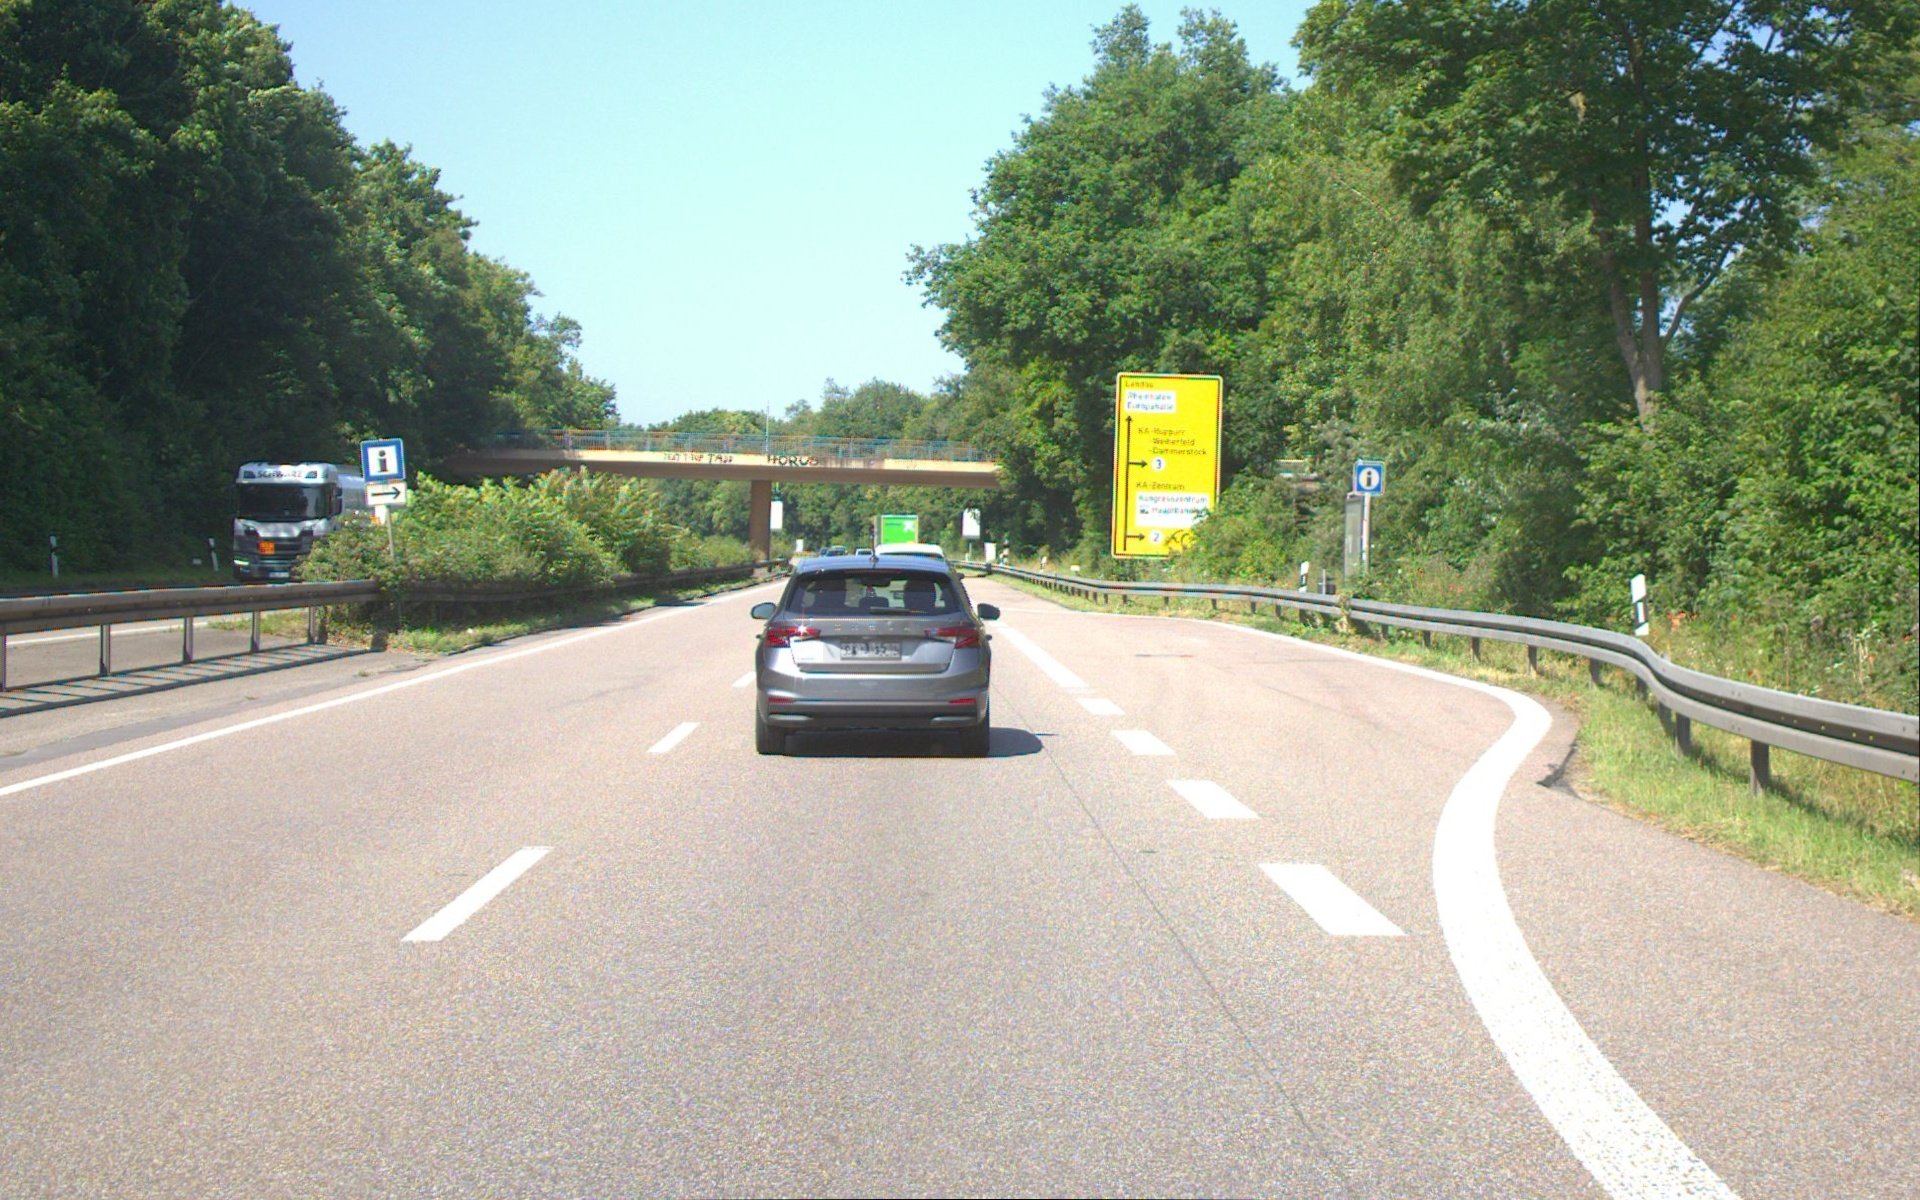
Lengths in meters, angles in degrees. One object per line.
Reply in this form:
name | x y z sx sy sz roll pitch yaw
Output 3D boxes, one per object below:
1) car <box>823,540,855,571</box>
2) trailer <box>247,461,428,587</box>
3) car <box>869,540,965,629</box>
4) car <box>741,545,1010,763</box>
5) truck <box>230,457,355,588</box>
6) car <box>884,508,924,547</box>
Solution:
car | -8.220 -3.026 233.687 1.993 2.007 4.000 1 1 -1
trailer | -17.158 -2.051 95.780 2.492 3.224 14.432 1 1 0
car | -0.714 -0.280 58.637 1.522 1.442 3.340 1 1 1
car | -0.562 0.348 25.671 1.840 1.467 3.623 1 1 1
truck | -17.107 -1.981 88.294 2.425 3.247 4.000 1 1 0
car | -3.903 -5.091 240.992 2.748 2.645 4.000 1 1 -1
